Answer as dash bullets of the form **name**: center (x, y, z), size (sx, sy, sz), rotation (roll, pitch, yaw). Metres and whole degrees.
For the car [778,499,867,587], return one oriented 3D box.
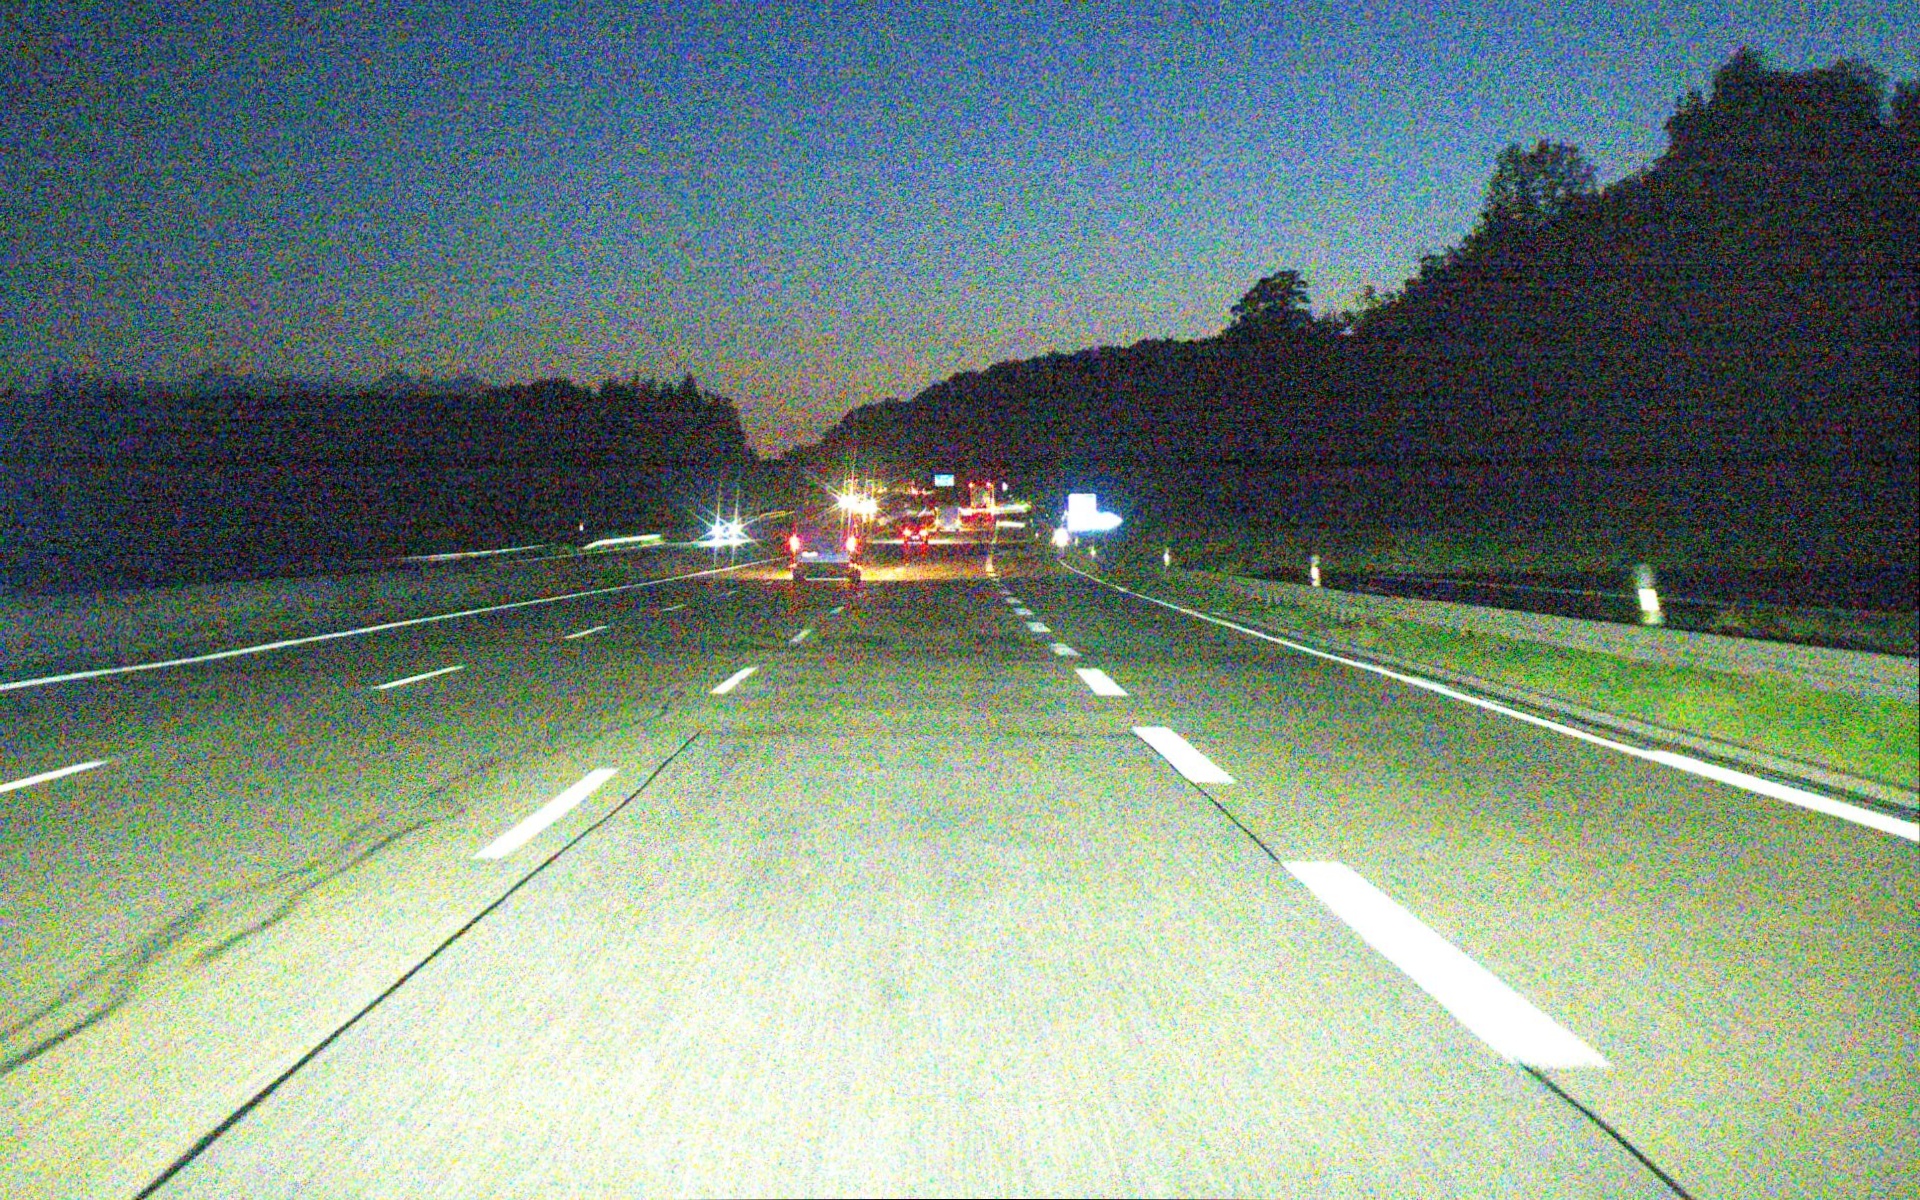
- **car**: center (-4.478, -1.809, 110.958), size (2.786, 2.724, 6.300), rotation (0, 0, -3)

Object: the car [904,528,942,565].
- **car**: center (-2.795, -4.004, 258.395), size (2.786, 2.724, 6.299), rotation (0, 0, -1)
